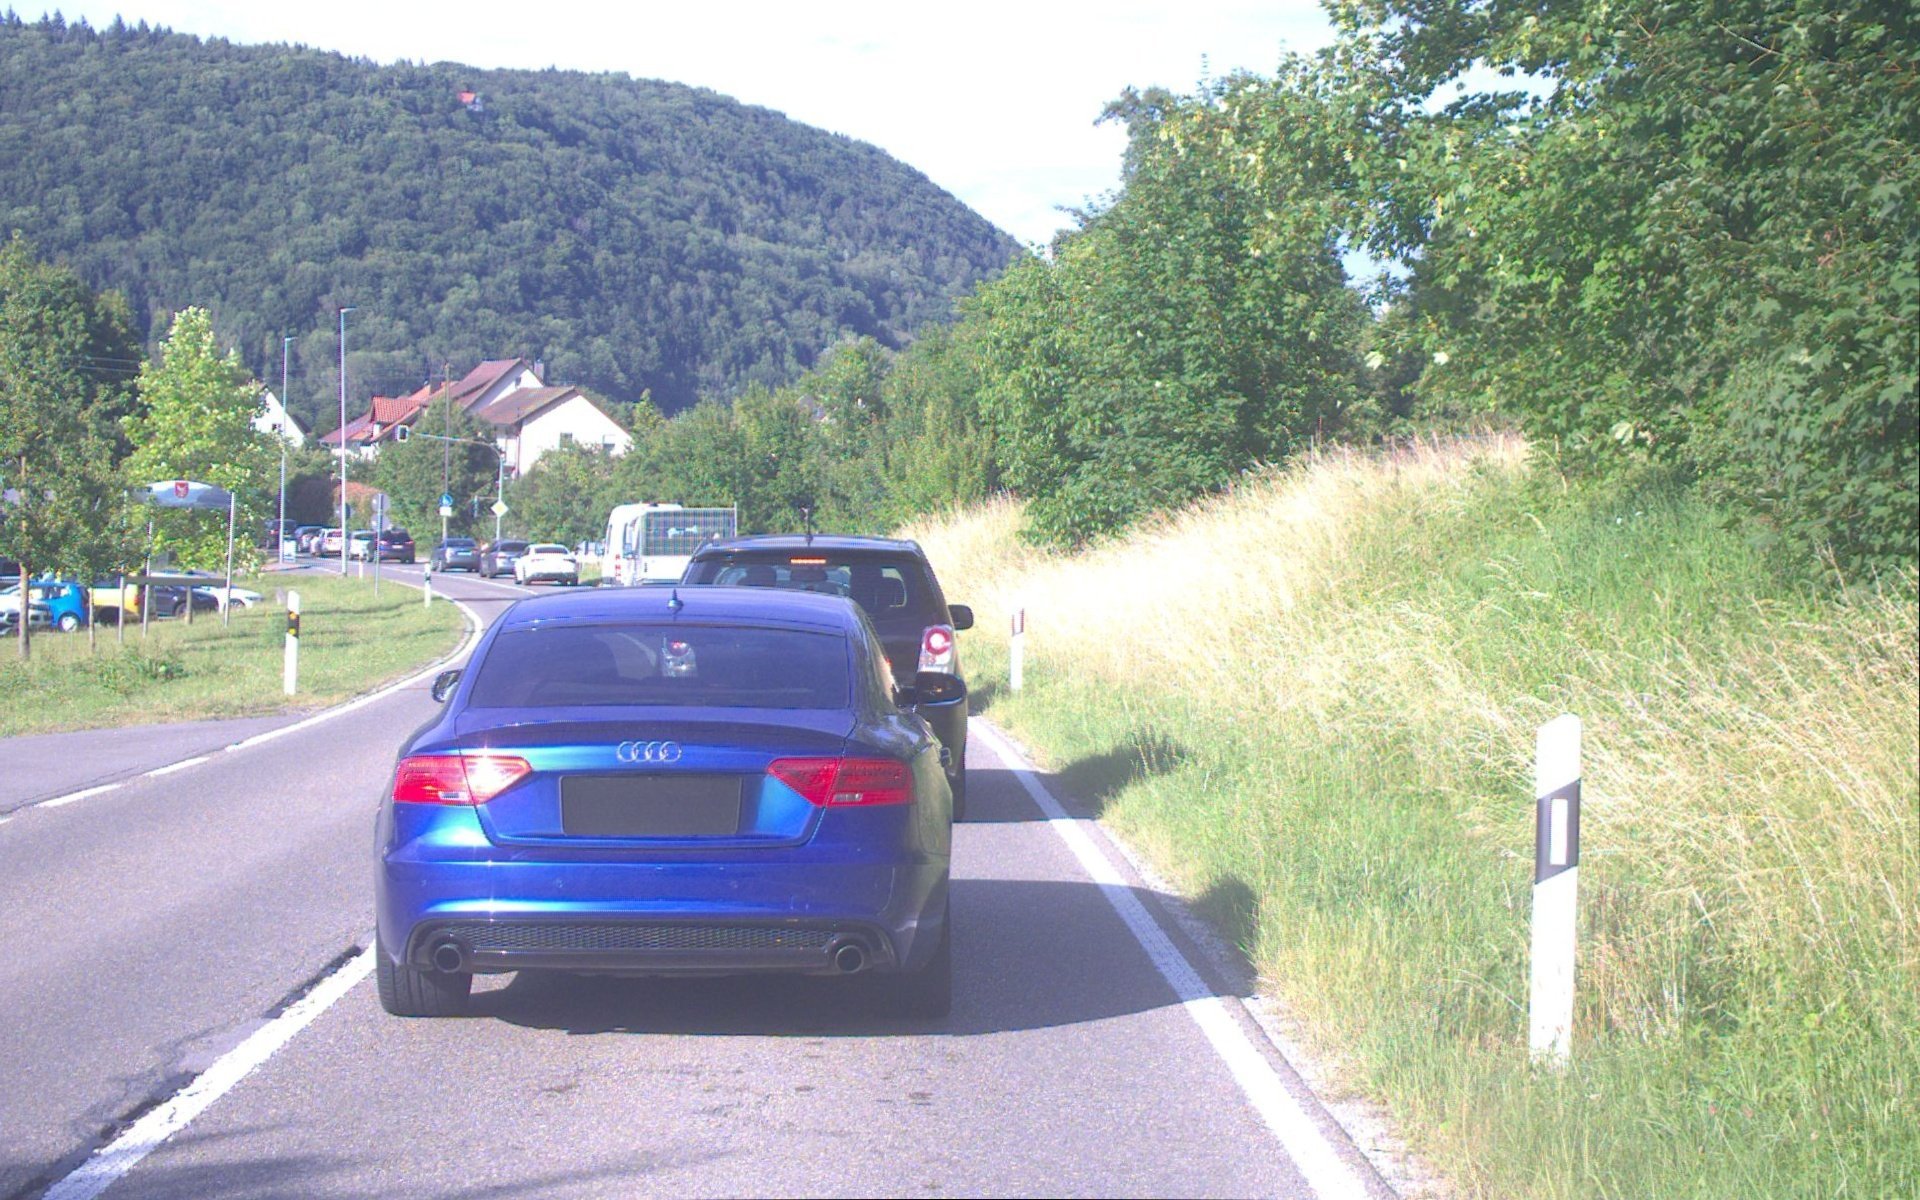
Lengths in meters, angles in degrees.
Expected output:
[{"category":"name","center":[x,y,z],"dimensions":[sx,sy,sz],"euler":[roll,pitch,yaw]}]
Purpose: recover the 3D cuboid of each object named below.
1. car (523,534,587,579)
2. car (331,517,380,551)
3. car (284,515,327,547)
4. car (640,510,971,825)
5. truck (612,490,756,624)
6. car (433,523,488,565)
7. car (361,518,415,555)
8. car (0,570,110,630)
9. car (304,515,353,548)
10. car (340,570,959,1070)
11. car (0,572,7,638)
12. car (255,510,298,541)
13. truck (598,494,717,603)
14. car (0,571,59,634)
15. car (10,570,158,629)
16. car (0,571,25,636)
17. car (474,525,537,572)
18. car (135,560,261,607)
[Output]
[{"category":"car","center":[-13.998,-1.494,118.609],"dimensions":[1.845,1.477,4.001],"euler":[1,0,-12]},{"category":"car","center":[-30.637,-3.329,174.184],"dimensions":[1.845,1.706,4.001],"euler":[1,0,-19]},{"category":"car","center":[-36.148,-3.805,189.806],"dimensions":[1.845,1.706,4.001],"euler":[1,0,-18]},{"category":"car","center":[-0.831,0.351,20.482],"dimensions":[1.754,1.675,3.846],"euler":[1,0,0]},{"category":"truck","center":[-5.679,-0.865,69.949],"dimensions":[2.229,2.561,6.105],"euler":[1,0,-11]},{"category":"car","center":[-21.189,-2.371,145.829],"dimensions":[1.845,1.706,4.001],"euler":[1,0,-15]},{"category":"car","center":[-27.429,-3.042,164.676],"dimensions":[1.845,1.706,4.001],"euler":[1,0,-20]},{"category":"car","center":[-27.248,-0.007,101.227],"dimensions":[3.986,1.705,2.000],"euler":[1,0,-3]},{"category":"car","center":[-33.456,-3.602,182.094],"dimensions":[1.845,1.706,4.001],"euler":[1,0,-20]},{"category":"car","center":[-0.902,0.622,11.890],"dimensions":[1.754,1.425,3.846],"euler":[1,0,0]},{"category":"car","center":[-26.789,0.100,88.499],"dimensions":[3.986,1.705,2.000],"euler":[1,0,-3]},{"category":"car","center":[-39.233,-4.281,197.286],"dimensions":[1.845,1.706,4.001],"euler":[1,0,-20]},{"category":"truck","center":[-7.562,-1.255,85.365],"dimensions":[2.229,2.561,6.709],"euler":[1,0,-11]},{"category":"car","center":[-27.243,0.039,95.440],"dimensions":[3.986,1.705,2.000],"euler":[1,0,-3]},{"category":"car","center":[-26.445,-0.017,103.901],"dimensions":[3.986,1.705,2.000],"euler":[1,0,-3]},{"category":"car","center":[-27.308,0.064,92.155],"dimensions":[3.986,1.705,2.000],"euler":[1,0,-3]},{"category":"car","center":[-17.312,-1.948,130.771],"dimensions":[1.845,1.706,4.001],"euler":[1,0,-15]},{"category":"car","center":[-26.234,-0.571,118.462],"dimensions":[3.986,1.573,1.753],"euler":[1,0,-3]}]
